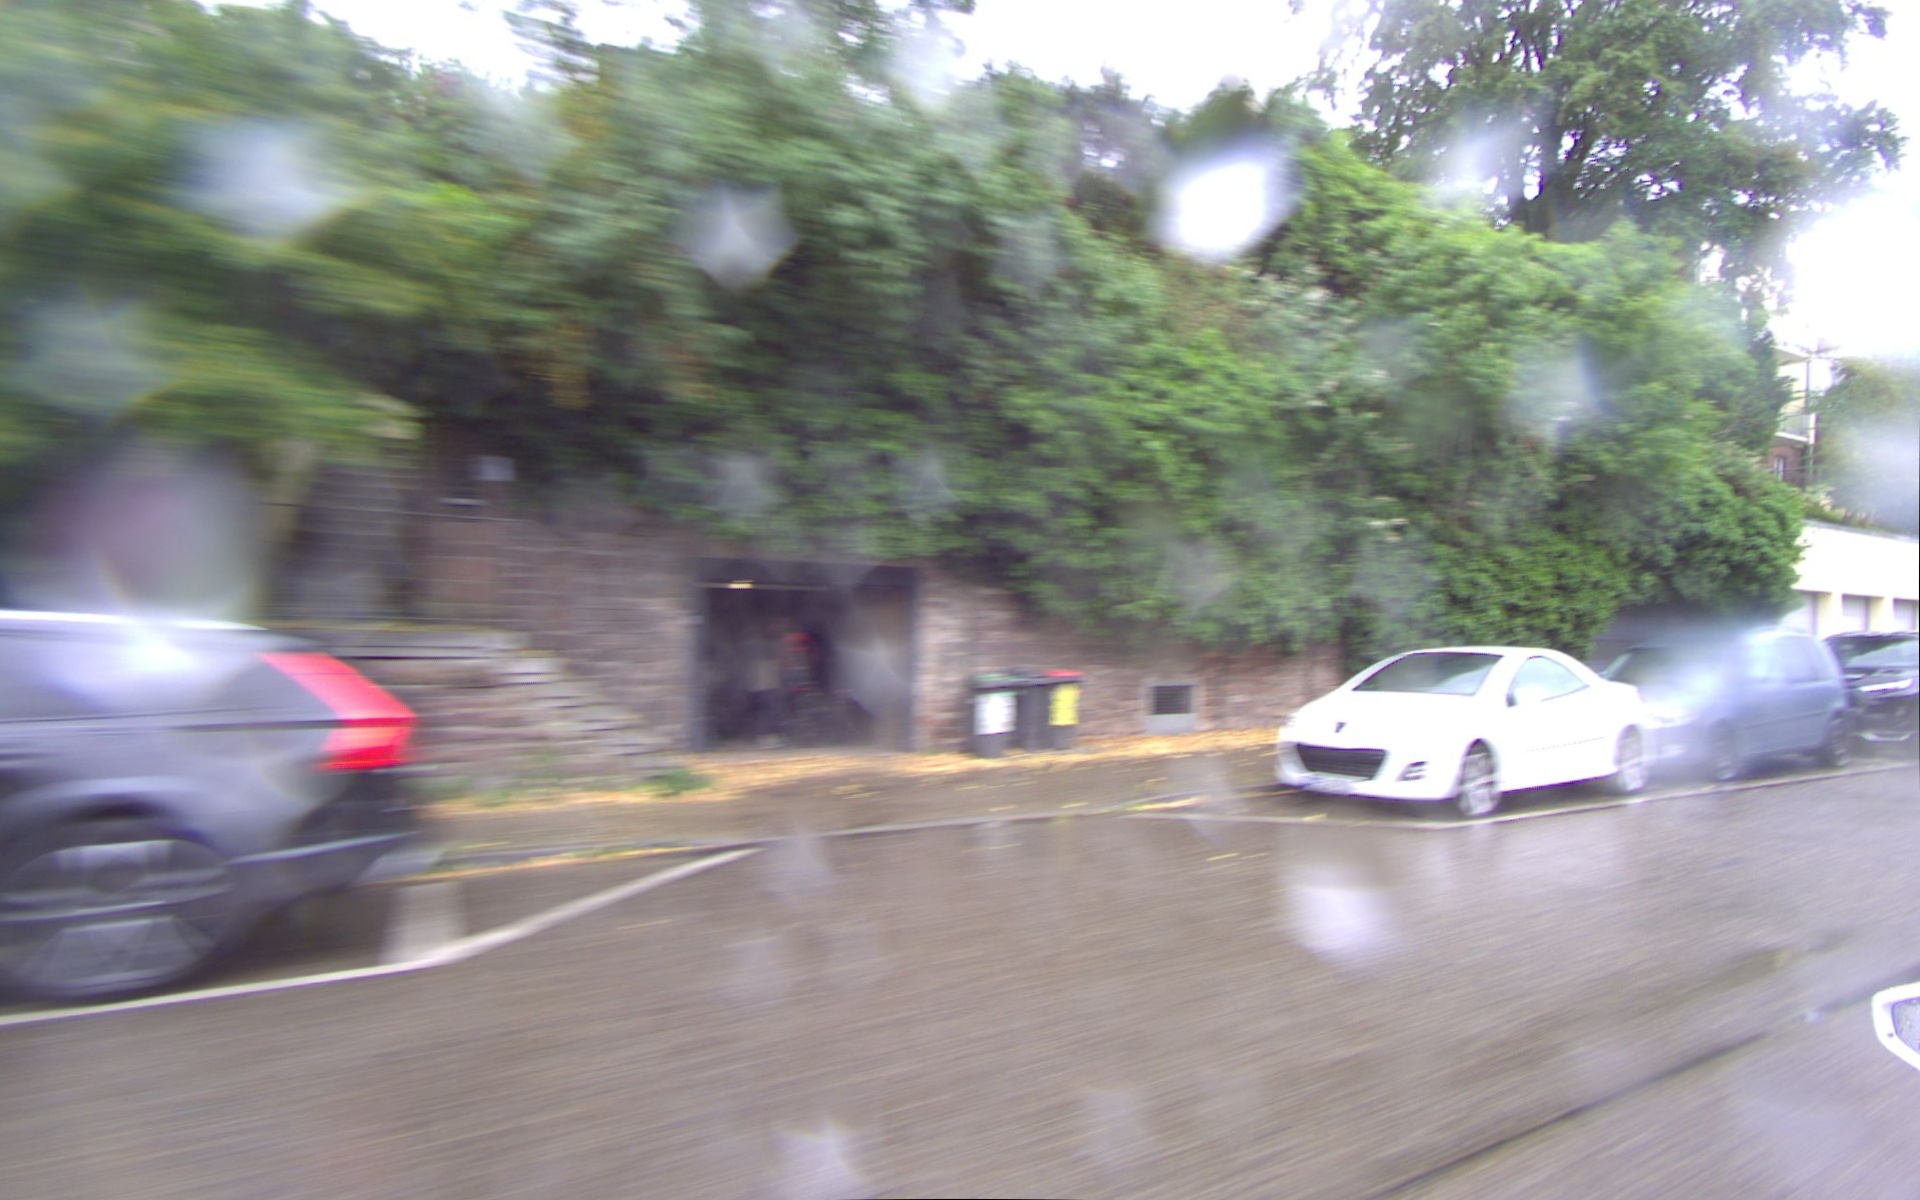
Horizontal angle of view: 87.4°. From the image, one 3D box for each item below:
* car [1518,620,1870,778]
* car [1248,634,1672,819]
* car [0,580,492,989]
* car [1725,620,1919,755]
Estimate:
[{"bbox_3d":[8.687,1.076,11.851,4.057,1.581,1.735,1,-3,-28],"label":"car"},{"bbox_3d":[4.791,1.042,9.493,4.037,1.383,1.708,1,-3,-32],"label":"car"},{"bbox_3d":[-4.608,0.703,4.184,4.697,1.500,1.901,2,-4,-29],"label":"car"},{"bbox_3d":[13.089,1.155,14.205,4.536,1.647,1.867,1,-4,-29],"label":"car"}]
